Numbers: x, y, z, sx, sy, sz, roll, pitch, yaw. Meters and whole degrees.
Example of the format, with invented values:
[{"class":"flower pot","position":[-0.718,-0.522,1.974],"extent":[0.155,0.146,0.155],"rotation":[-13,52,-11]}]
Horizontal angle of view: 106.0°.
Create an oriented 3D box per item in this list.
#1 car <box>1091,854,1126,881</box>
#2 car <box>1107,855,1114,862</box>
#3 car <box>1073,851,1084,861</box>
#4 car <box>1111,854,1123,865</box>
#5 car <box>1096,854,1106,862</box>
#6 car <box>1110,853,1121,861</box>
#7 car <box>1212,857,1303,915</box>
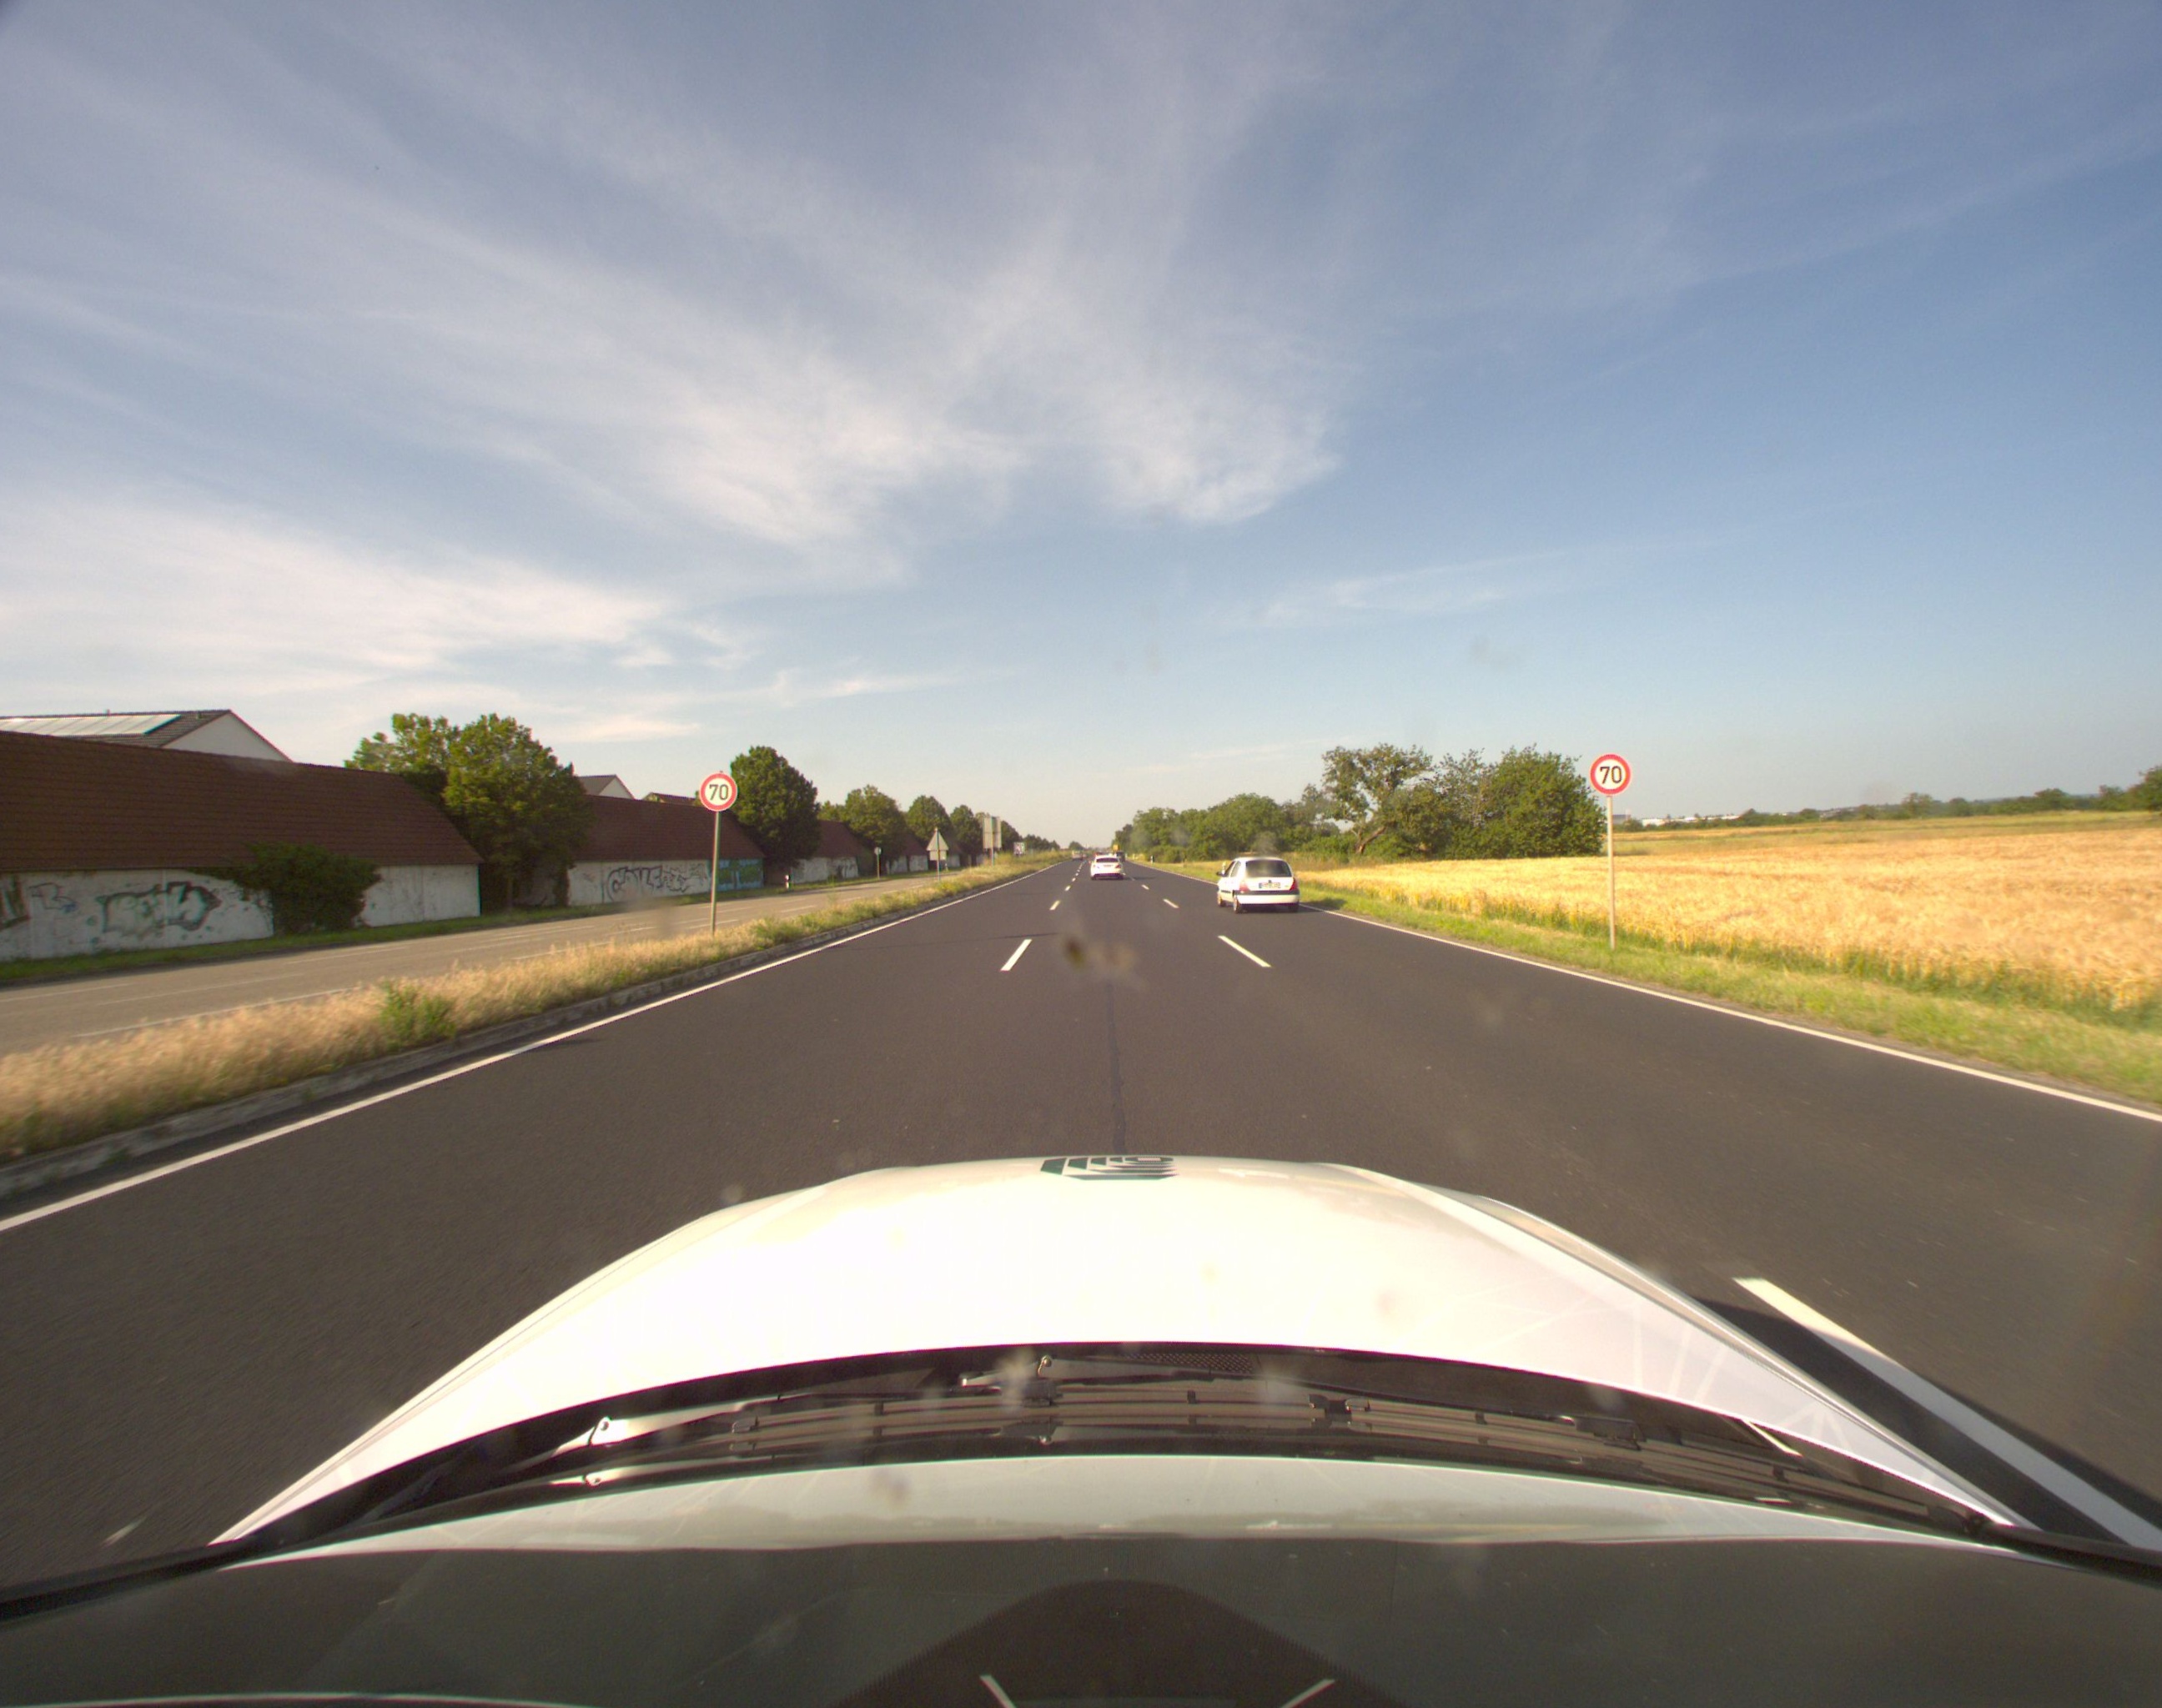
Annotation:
[{"class":"car","position":[1.608,0.805,48.138],"extent":[1.986,1.516,4.001],"rotation":[-1,-1,1]},{"class":"car","position":[7.683,1.159,210.143],"extent":[1.796,1.904,3.561],"rotation":[-1,-1,2]},{"class":"car","position":[-0.478,0.355,144.037],"extent":[1.751,1.618,4.003],"rotation":[-1,-1,3]},{"class":"car","position":[5.750,0.845,129.036],"extent":[1.821,1.728,4.001],"rotation":[-1,-1,1]},{"class":"car","position":[3.775,0.834,151.780],"extent":[1.806,1.436,3.858],"rotation":[-1,-1,1]},{"class":"car","position":[7.057,0.667,165.123],"extent":[1.988,1.585,4.281],"rotation":[-1,-1,-1]},{"class":"car","position":[4.568,0.799,21.609],"extent":[1.611,1.387,3.952],"rotation":[-1,-1,1]}]
